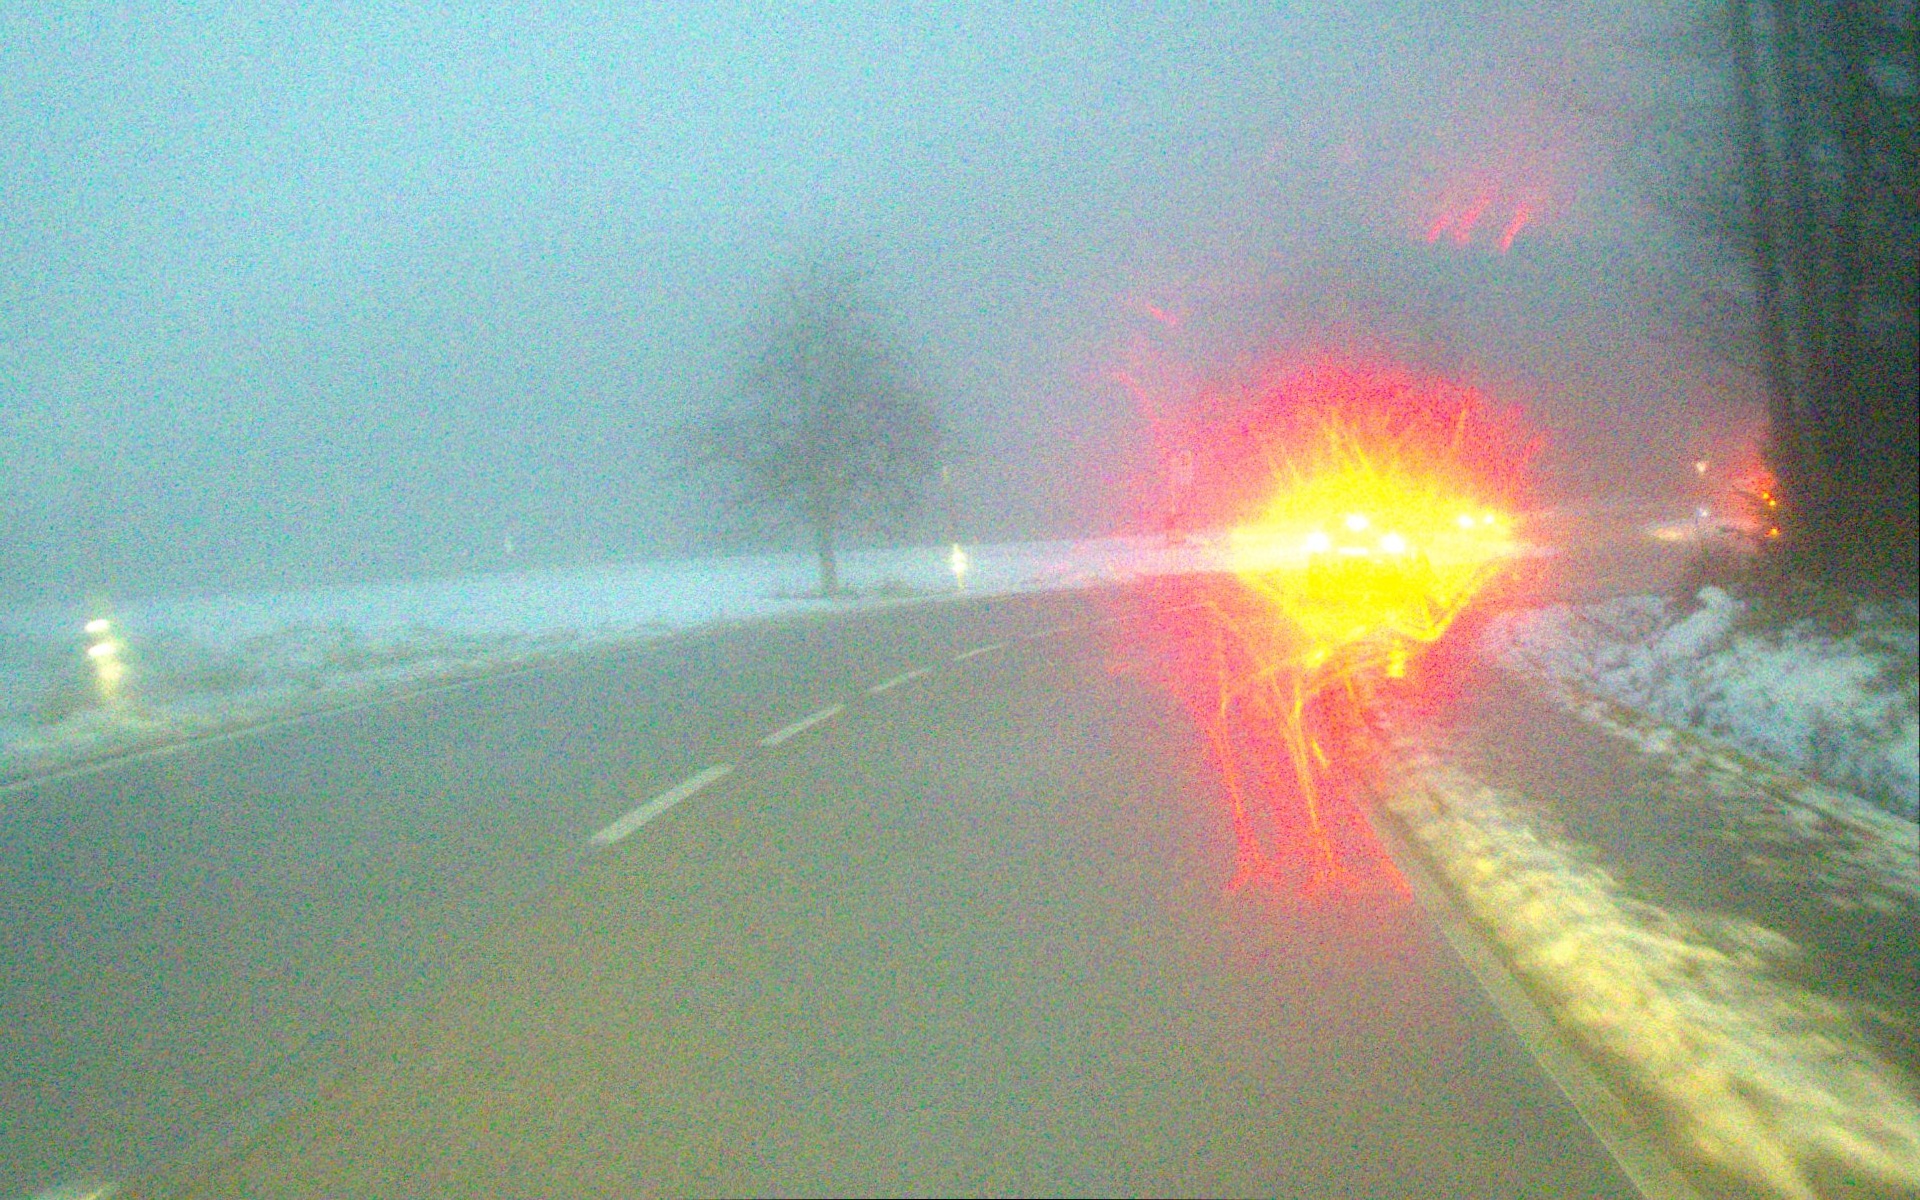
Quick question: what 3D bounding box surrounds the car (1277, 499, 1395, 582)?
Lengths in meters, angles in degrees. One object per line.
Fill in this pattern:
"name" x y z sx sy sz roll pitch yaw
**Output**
"car" 6.622 -1.069 60.229 1.922 1.272 3.999 -1 3 8
